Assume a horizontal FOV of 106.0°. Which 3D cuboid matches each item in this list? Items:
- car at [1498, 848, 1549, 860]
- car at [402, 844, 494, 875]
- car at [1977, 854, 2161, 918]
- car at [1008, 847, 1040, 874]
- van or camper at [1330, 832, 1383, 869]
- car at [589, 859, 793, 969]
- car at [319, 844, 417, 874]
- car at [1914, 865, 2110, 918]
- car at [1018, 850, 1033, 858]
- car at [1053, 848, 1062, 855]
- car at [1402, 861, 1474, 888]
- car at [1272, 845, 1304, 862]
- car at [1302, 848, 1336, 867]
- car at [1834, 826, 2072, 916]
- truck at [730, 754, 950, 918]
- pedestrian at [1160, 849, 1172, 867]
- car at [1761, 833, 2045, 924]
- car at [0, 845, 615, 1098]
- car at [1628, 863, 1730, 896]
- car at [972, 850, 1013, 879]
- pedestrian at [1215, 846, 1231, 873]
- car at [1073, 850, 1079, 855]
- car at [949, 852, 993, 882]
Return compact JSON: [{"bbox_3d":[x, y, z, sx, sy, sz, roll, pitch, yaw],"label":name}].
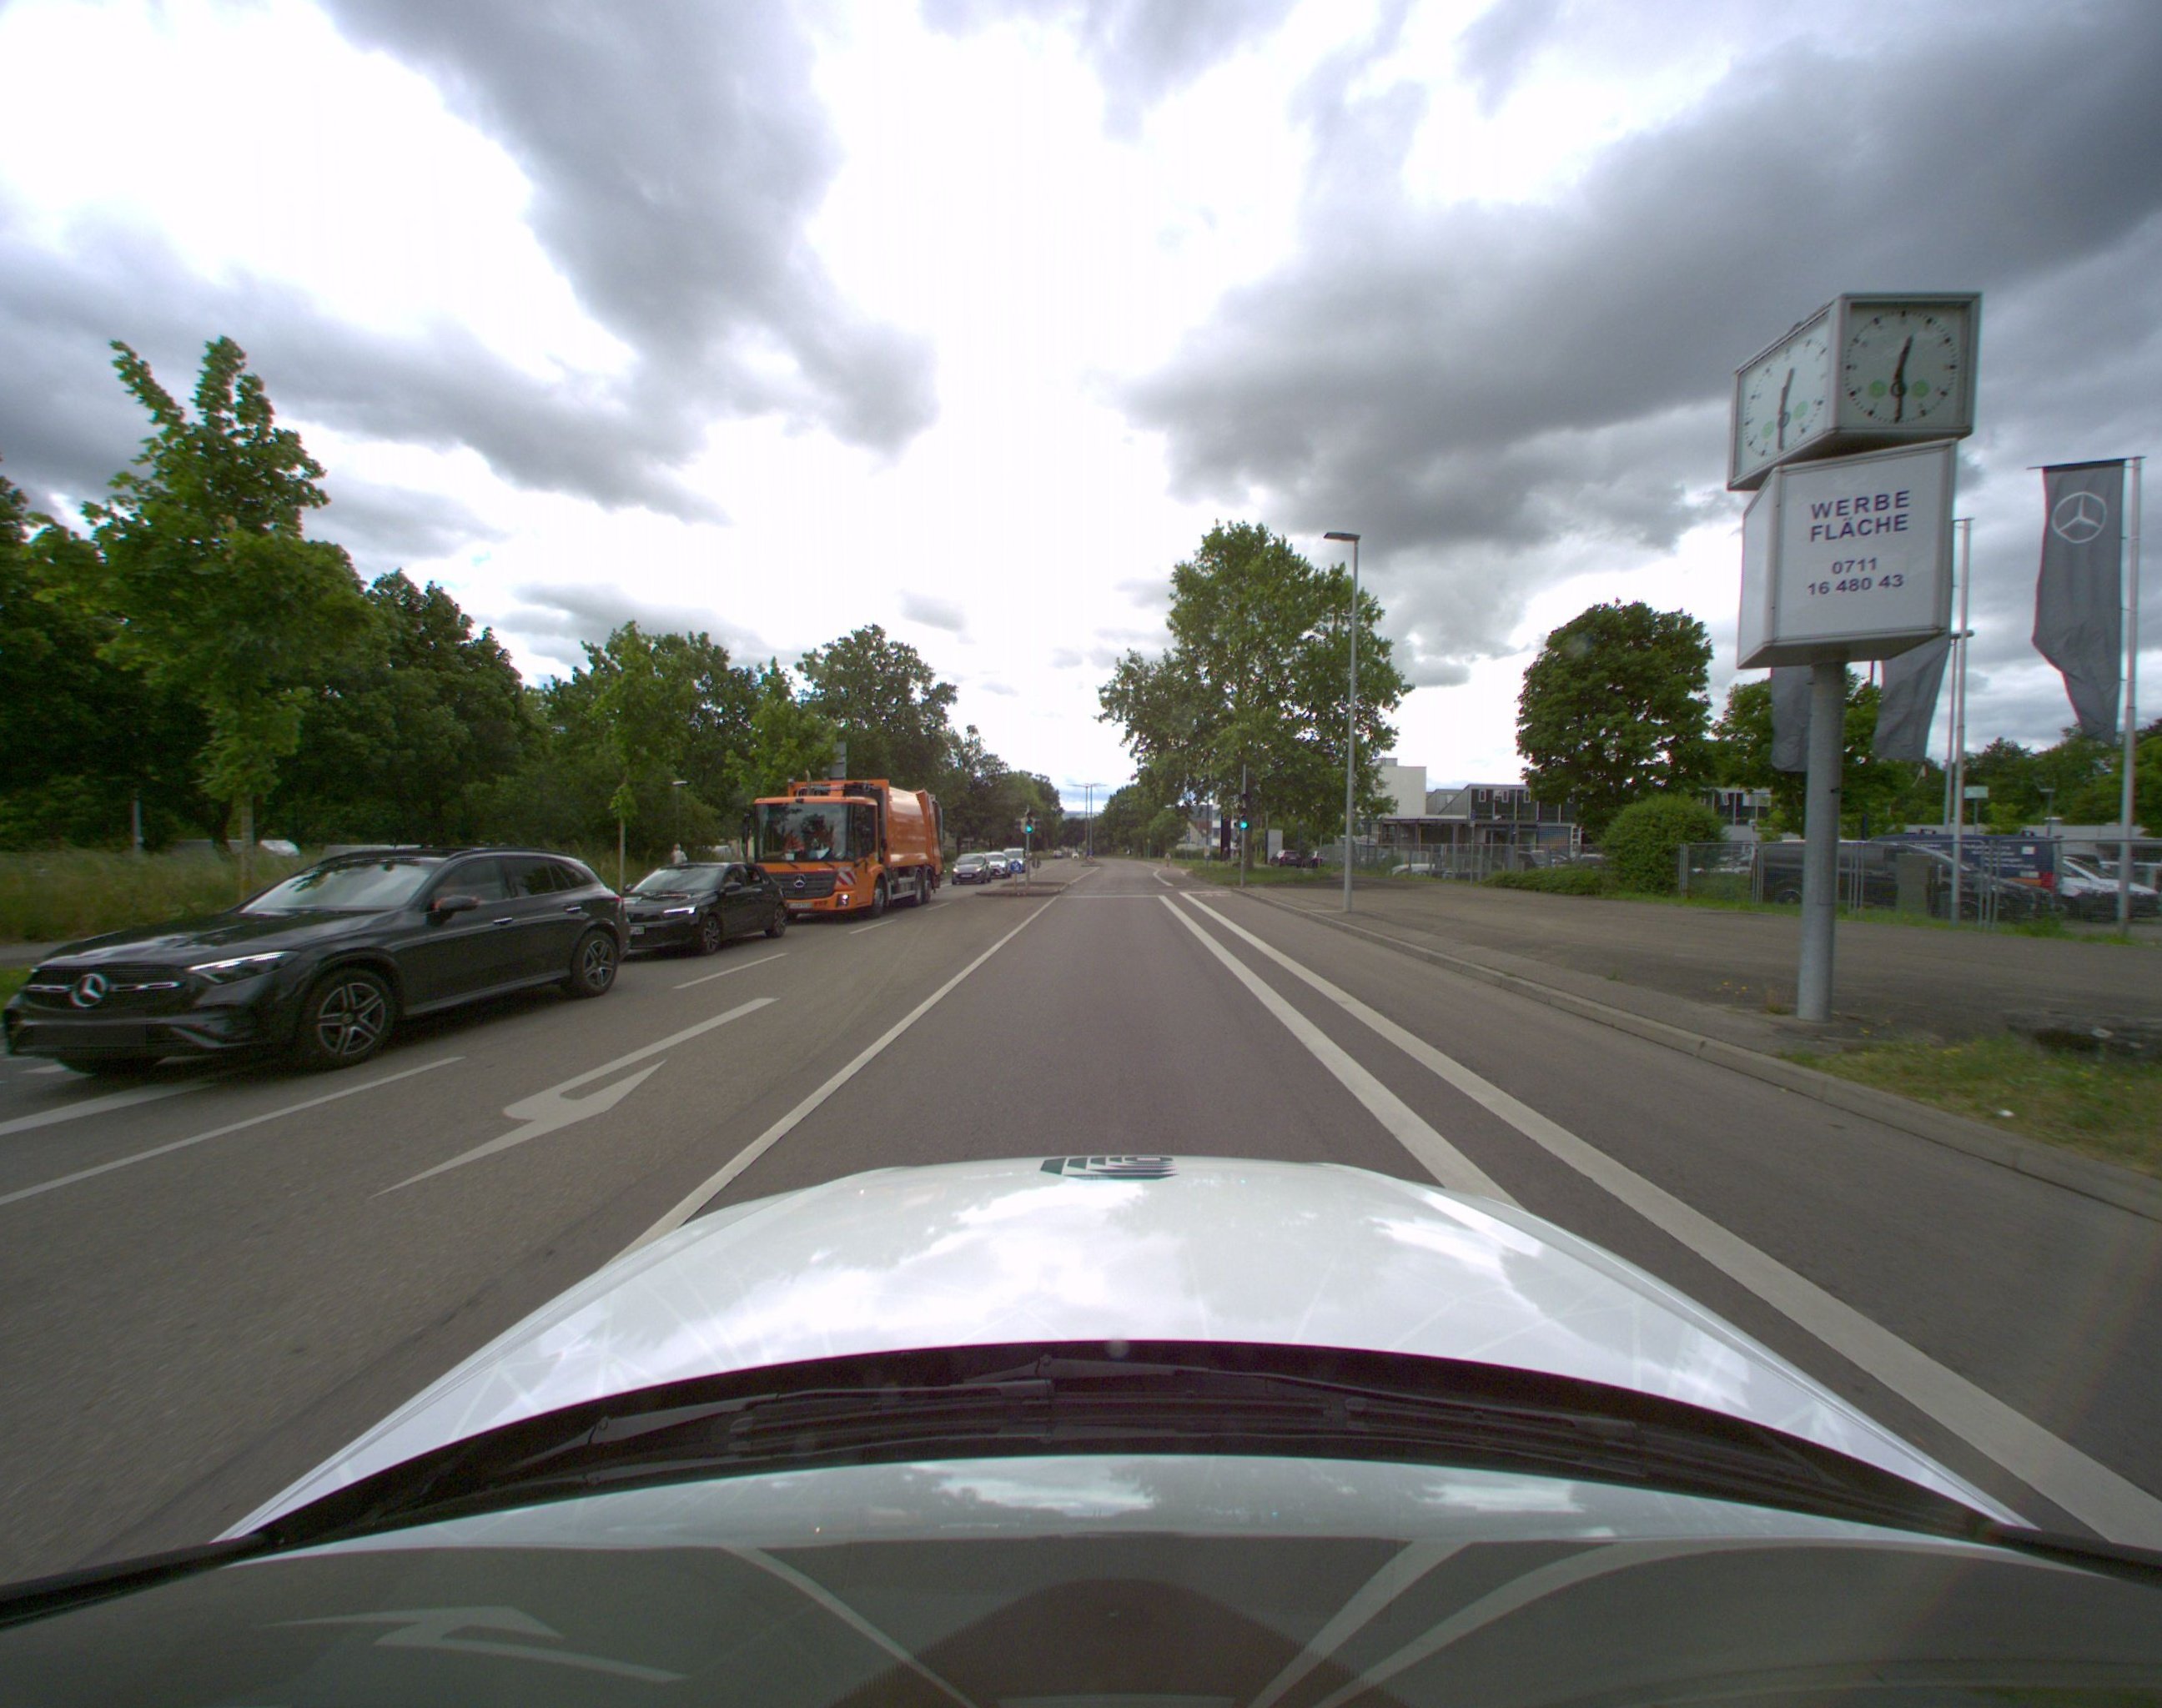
[{"bbox_3d":[37.988,0.024,69.925,3.627,0.978,1.413,0,0,1],"label":"car"},{"bbox_3d":[-46.092,0.353,59.374,4.955,2.190,1.998,0,0,-3],"label":"car"},{"bbox_3d":[30.183,0.900,24.789,1.624,1.756,3.578,0,0,-15],"label":"car"},{"bbox_3d":[-4.093,0.442,59.037,1.840,1.803,4.651,-2,0,0],"label":"car"},{"bbox_3d":[22.552,-0.283,66.972,1.959,2.868,6.918,0,0,0],"label":"van or camper"},{"bbox_3d":[-6.213,0.860,13.478,1.428,1.457,3.896,0,1,1],"label":"car"},{"bbox_3d":[-49.452,0.330,56.562,4.952,2.013,1.999,0,0,-1],"label":"car"},{"bbox_3d":[27.320,1.047,24.014,1.632,1.349,3.561,0,1,-30],"label":"car"},{"bbox_3d":[-9.260,-0.010,135.165,1.663,1.304,4.009,0,0,8],"label":"car"},{"bbox_3d":[-5.070,-0.565,174.164,1.765,1.304,4.001,0,0,1],"label":"car"},{"bbox_3d":[22.060,1.243,50.364,3.725,1.618,1.690,0,0,-3],"label":"car"},{"bbox_3d":[17.097,-0.032,67.435,1.704,1.354,4.347,0,1,2],"label":"car"},{"bbox_3d":[19.737,0.281,67.792,1.704,1.508,4.347,2,1,2],"label":"car"},{"bbox_3d":[24.968,0.416,23.503,2.006,2.326,4.385,0,0,-30],"label":"car"},{"bbox_3d":[-5.953,-0.461,22.365,2.695,3.486,10.001,0,1,2],"label":"truck"},{"bbox_3d":[7.271,0.339,69.685,0.791,1.463,0.745,0,0,-17],"label":"pedestrian"},{"bbox_3d":[20.557,0.521,20.630,2.007,2.025,4.749,0,1,-32],"label":"car"},{"bbox_3d":[-6.158,0.725,7.214,1.633,1.585,4.062,0,1,1],"label":"car"},{"bbox_3d":[29.913,1.236,40.810,3.990,1.552,1.992,0,0,-12],"label":"car"},{"bbox_3d":[-5.161,0.589,48.038,1.840,1.520,4.816,-2,0,0],"label":"car"},{"bbox_3d":[9.673,0.380,55.538,0.739,1.801,0.868,0,0,36],"label":"pedestrian"},{"bbox_3d":[-1.268,-0.441,212.800,1.606,1.304,4.001,0,0,1],"label":"car"},{"bbox_3d":[-5.333,0.596,39.947,1.542,1.331,3.655,-2,0,1],"label":"car"}]
